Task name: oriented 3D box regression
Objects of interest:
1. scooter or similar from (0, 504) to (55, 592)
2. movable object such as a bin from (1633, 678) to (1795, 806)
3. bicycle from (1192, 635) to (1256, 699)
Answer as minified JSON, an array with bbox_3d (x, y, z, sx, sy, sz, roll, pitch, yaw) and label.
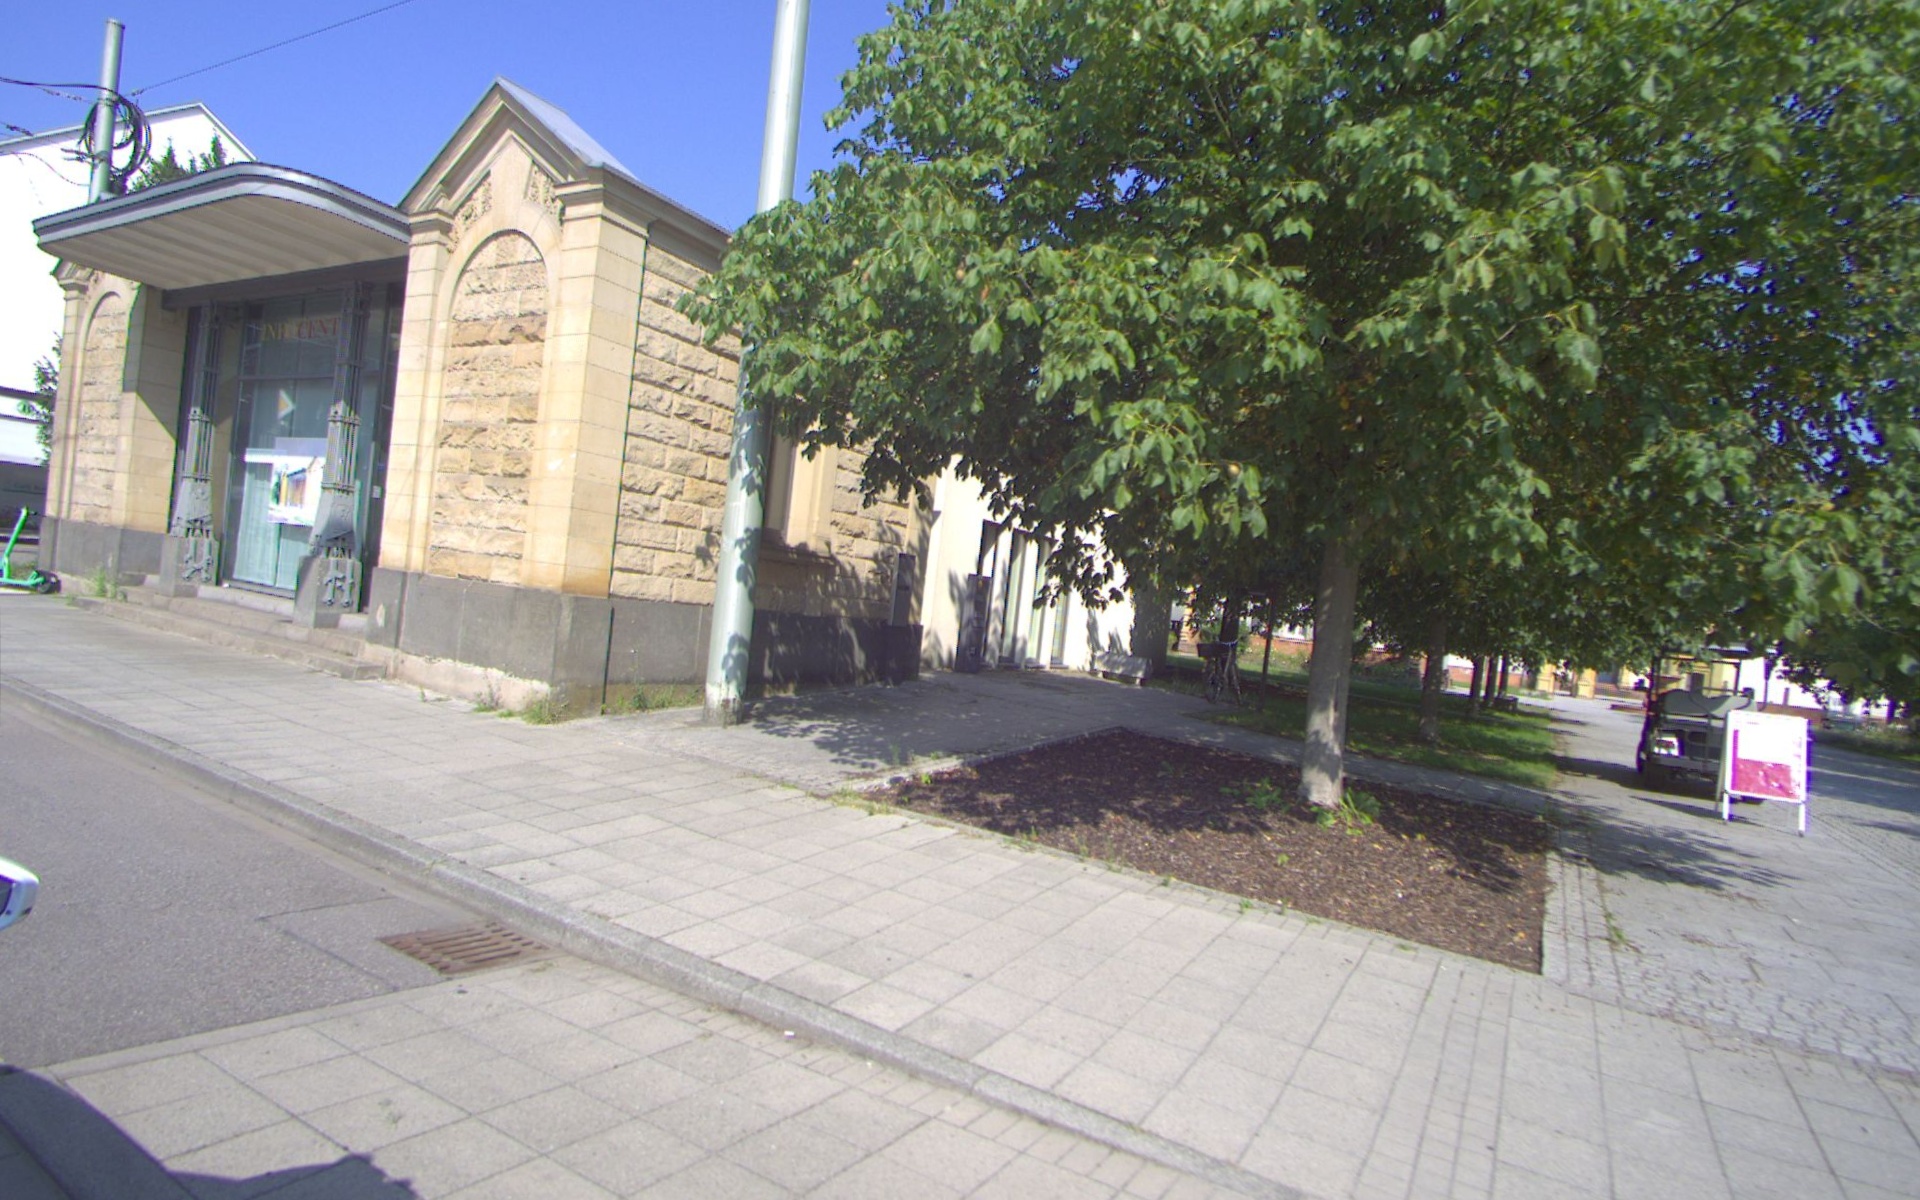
[{"bbox_3d":[-13.375,-0.760,14.167,1.486,1.148,0.523,6,2,33],"label":"scooter or similar"},{"bbox_3d":[9.908,1.790,13.406,1.279,1.314,3.109,6,0,31],"label":"movable object such as a bin"},{"bbox_3d":[4.464,1.140,16.925,0.420,0.992,1.907,7,-1,31],"label":"bicycle"}]
